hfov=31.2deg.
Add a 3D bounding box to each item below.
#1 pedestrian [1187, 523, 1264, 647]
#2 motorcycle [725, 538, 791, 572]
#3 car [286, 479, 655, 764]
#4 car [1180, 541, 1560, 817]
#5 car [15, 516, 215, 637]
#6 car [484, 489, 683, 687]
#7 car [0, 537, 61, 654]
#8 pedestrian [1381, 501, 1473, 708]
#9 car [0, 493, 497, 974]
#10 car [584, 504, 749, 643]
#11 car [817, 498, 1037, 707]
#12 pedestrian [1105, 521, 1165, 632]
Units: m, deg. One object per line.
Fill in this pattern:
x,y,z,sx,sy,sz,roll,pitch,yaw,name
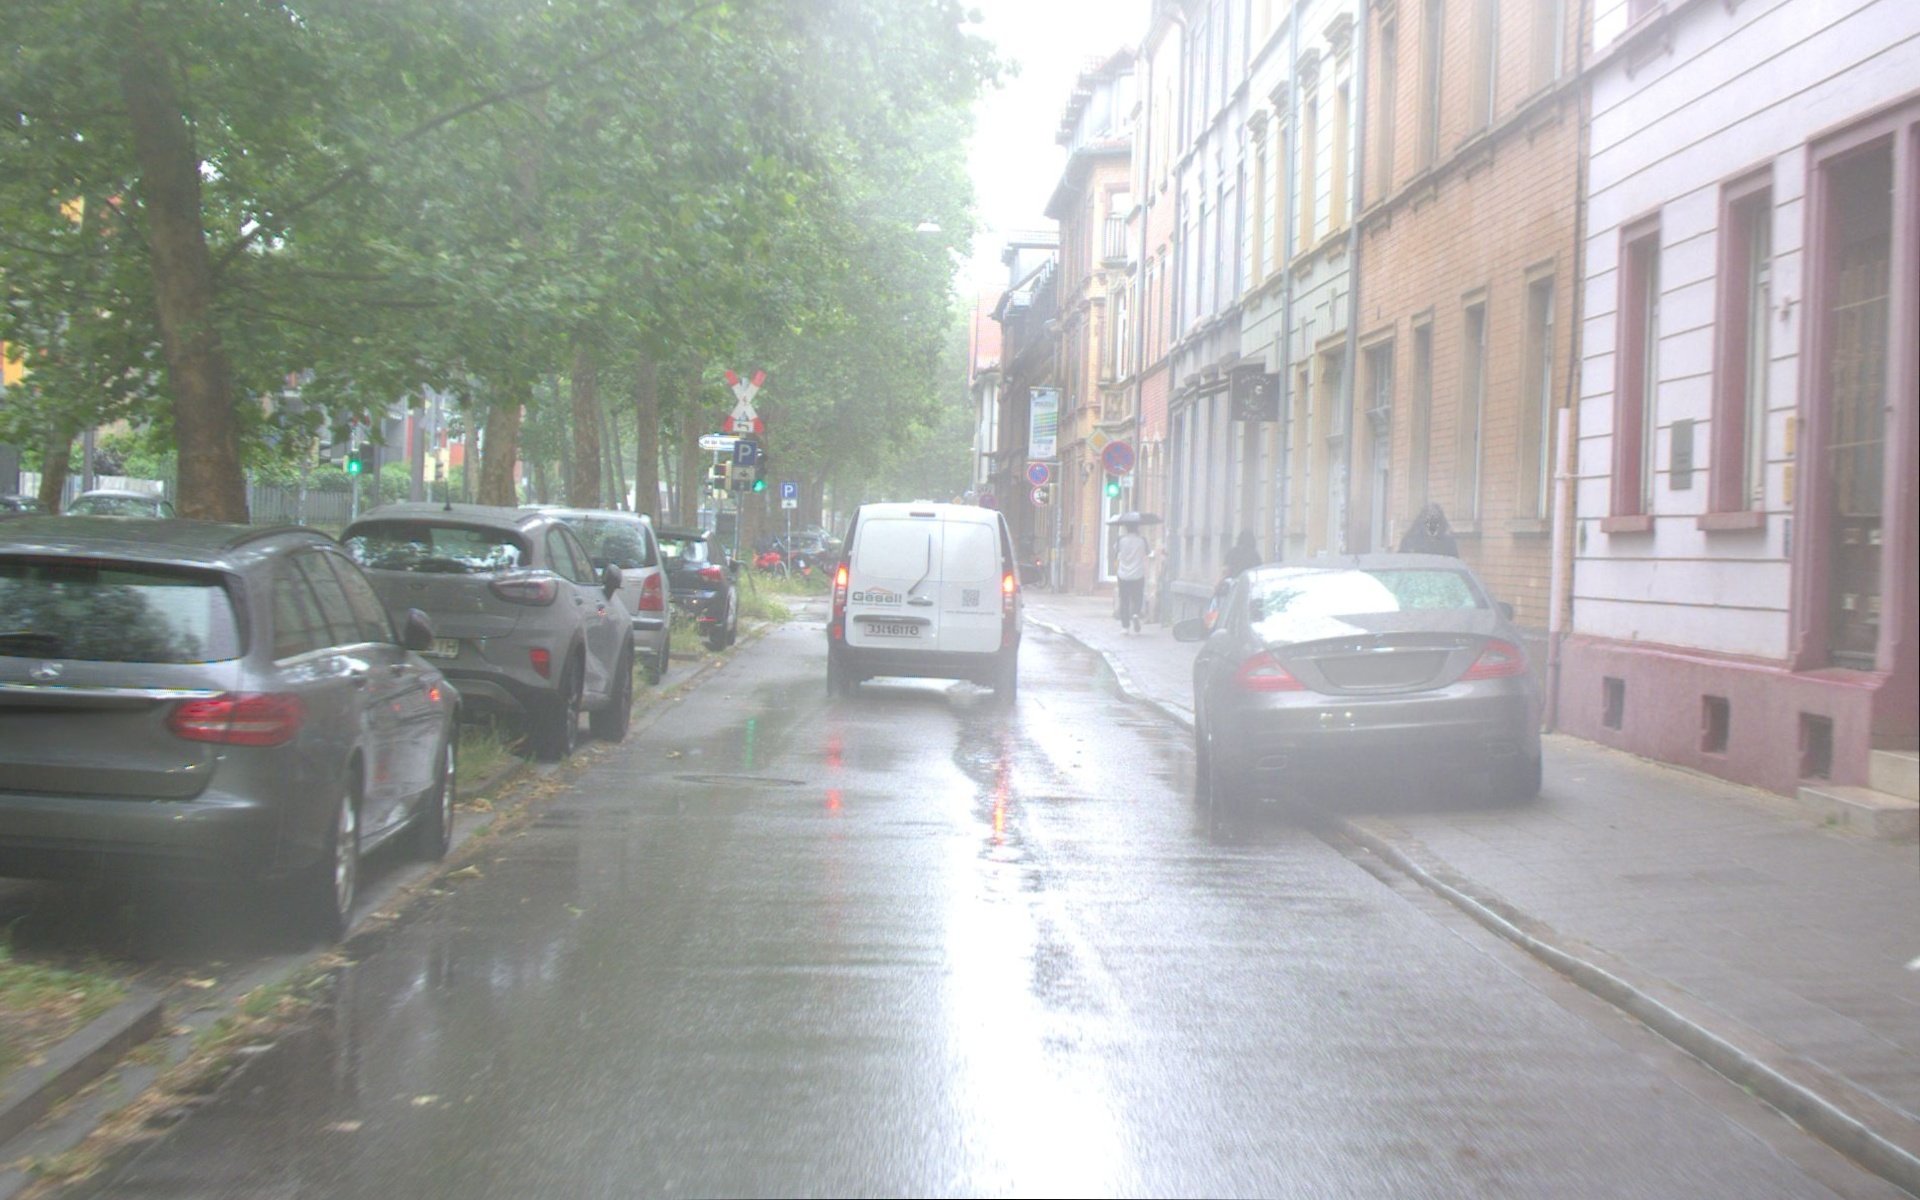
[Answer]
3.312,-0.196,42.940,0.840,1.506,1.108,-1,1,-1,pedestrian
-5.505,-1.225,93.600,1.706,0.862,0.577,2,1,4,motorcycle
-3.075,0.092,22.422,1.698,1.630,4.355,2,1,1,car
2.315,0.383,20.514,1.814,1.416,4.697,-1,1,2,car
-12.279,-0.375,50.169,1.993,1.607,4.001,2,1,-2,car
-3.491,-0.161,32.341,1.623,1.676,3.660,3,2,-4,car
-12.356,-0.105,42.036,1.738,1.338,3.756,5,1,-2,car
3.845,0.029,28.321,0.638,1.679,0.603,-1,1,-2,pedestrian
-3.005,0.380,13.422,1.828,1.498,4.614,3,1,-2,car
-3.506,-0.333,41.629,1.649,1.495,4.119,4,1,-1,car
-0.313,0.029,32.692,1.903,1.791,4.113,2,0,-1,car
2.774,-0.380,54.495,0.840,1.710,1.108,-1,1,0,pedestrian
